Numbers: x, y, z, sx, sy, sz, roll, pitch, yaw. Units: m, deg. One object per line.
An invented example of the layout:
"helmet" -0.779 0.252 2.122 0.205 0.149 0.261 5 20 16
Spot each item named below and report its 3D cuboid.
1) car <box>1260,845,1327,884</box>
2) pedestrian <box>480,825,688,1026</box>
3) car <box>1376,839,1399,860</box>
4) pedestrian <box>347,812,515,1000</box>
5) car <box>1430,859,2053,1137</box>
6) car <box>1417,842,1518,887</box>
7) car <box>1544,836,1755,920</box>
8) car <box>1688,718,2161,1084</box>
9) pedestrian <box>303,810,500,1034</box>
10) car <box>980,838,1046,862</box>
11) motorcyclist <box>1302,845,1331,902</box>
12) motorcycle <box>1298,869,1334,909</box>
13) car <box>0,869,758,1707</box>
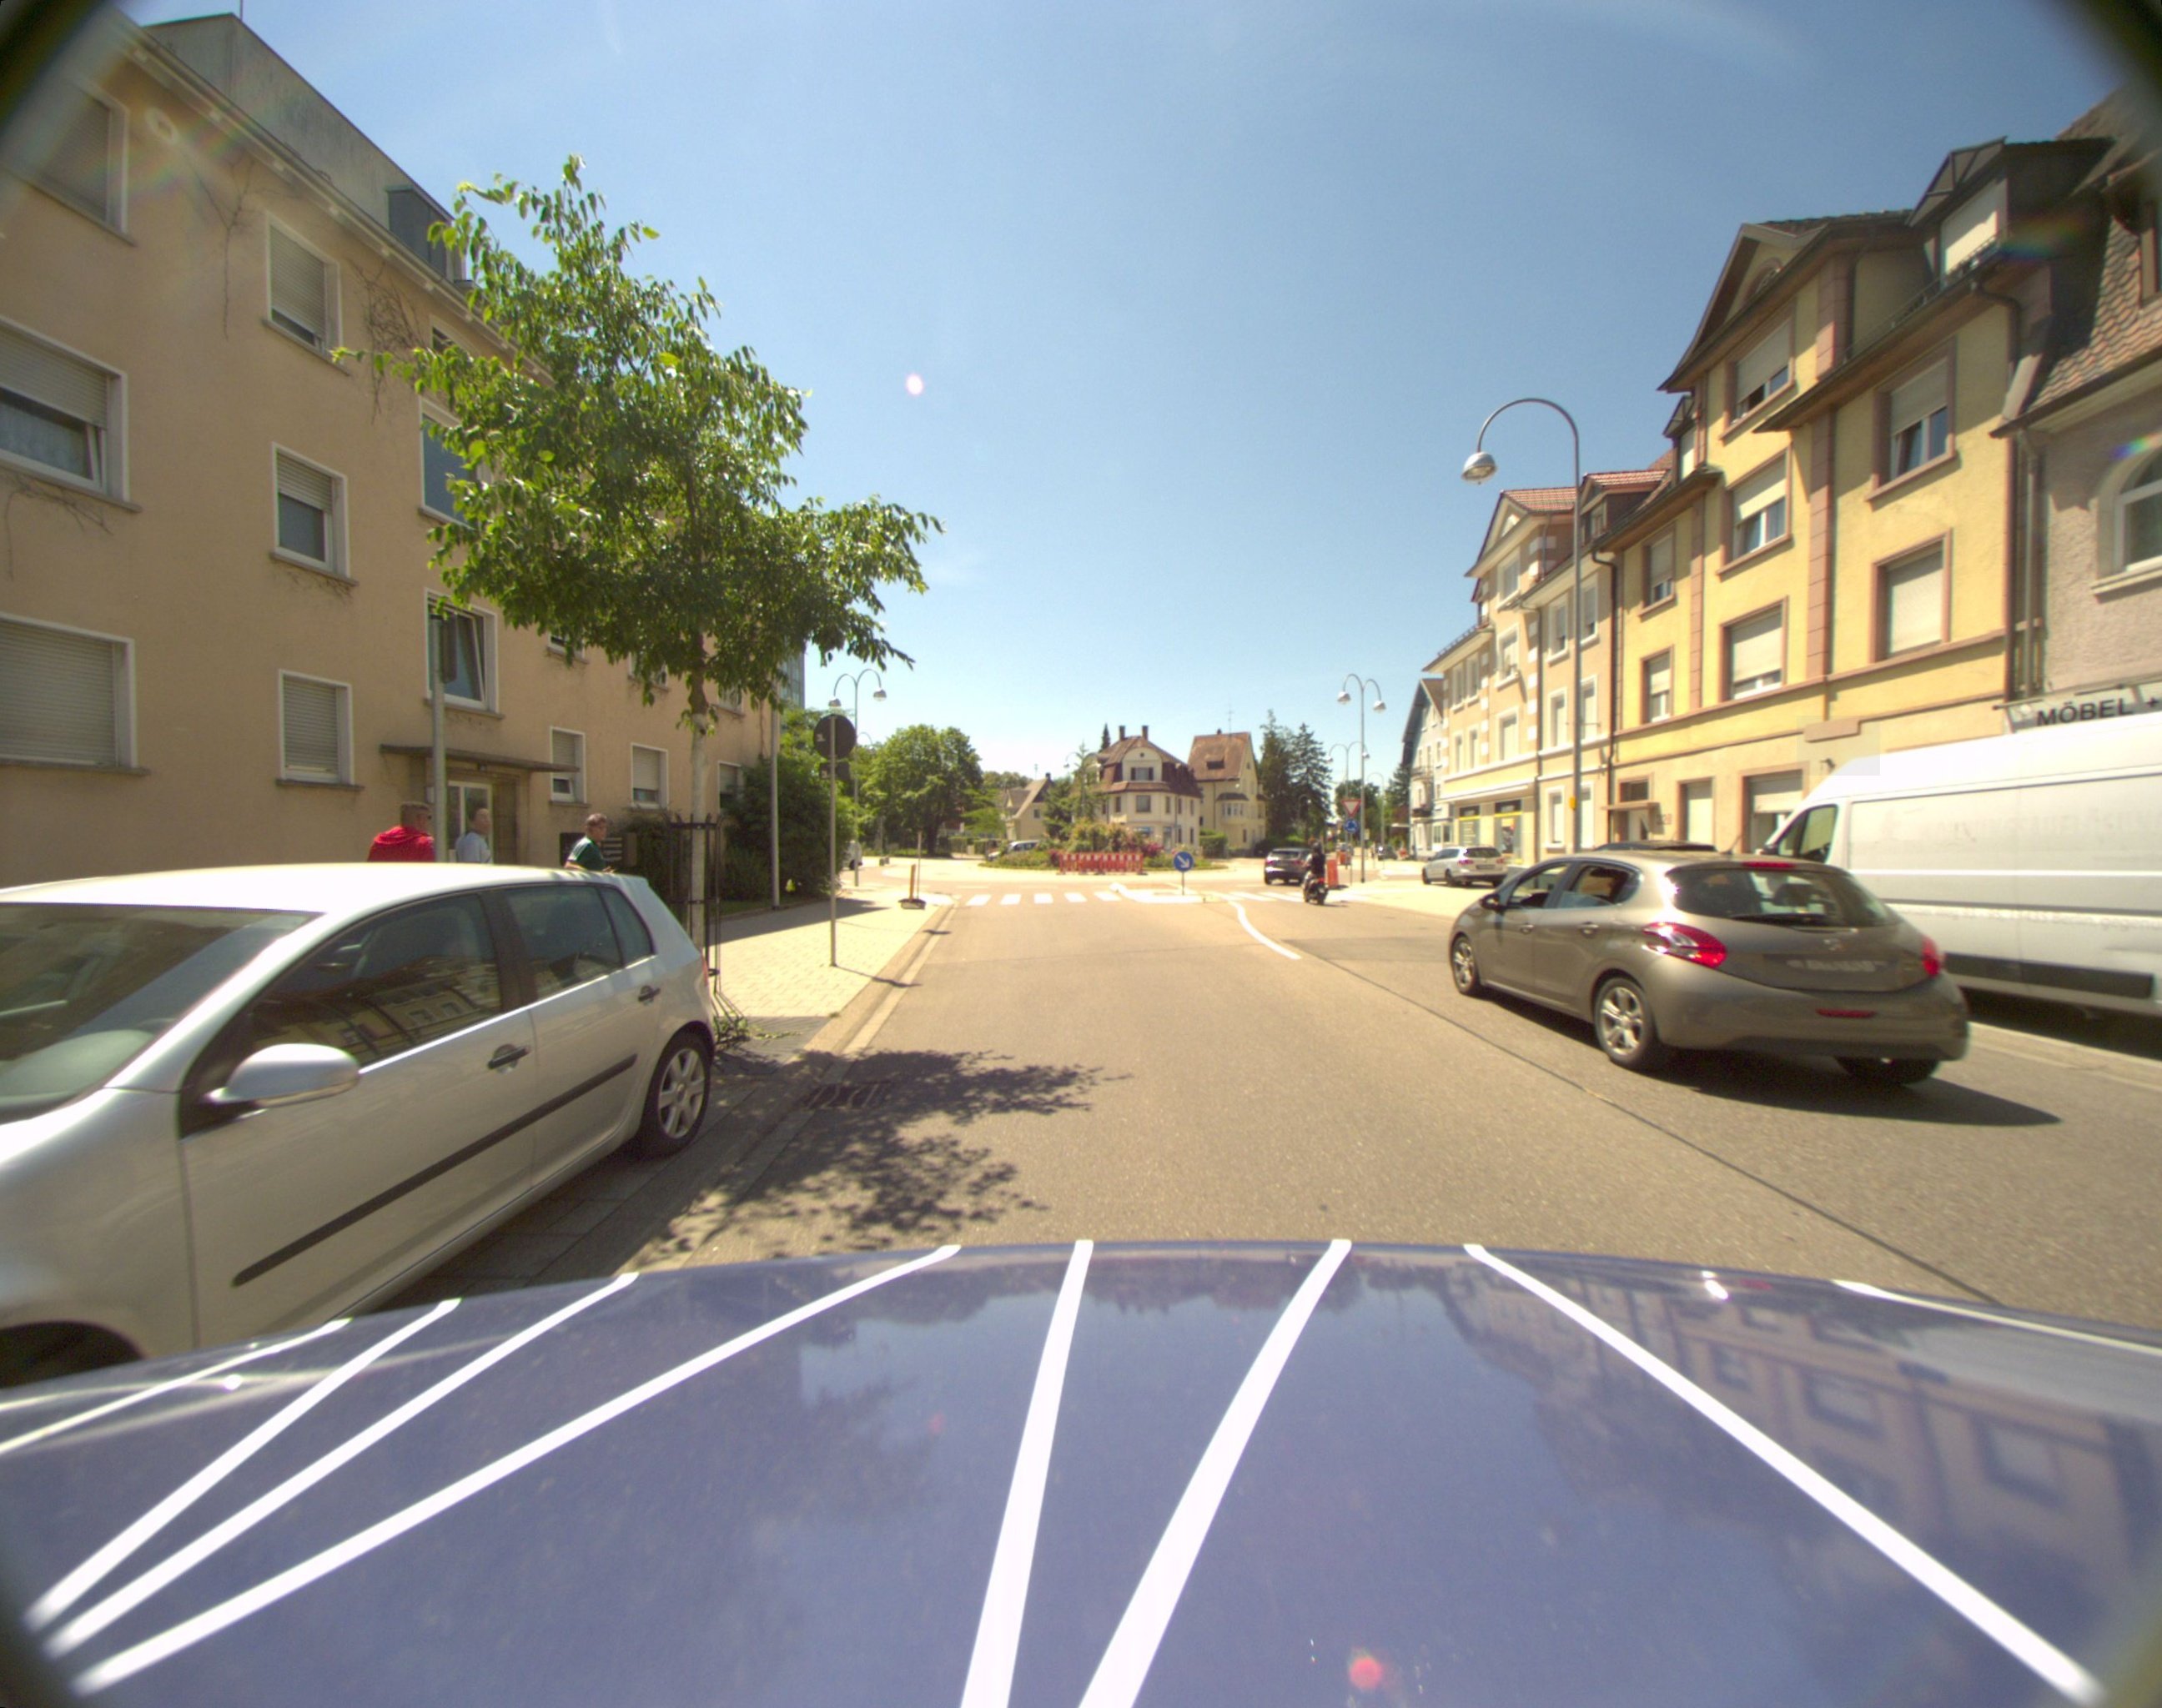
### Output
"car" 9.348 0.403 33.189 1.796 1.481 4.398 2 2 30
"pedestrian" -4.664 0.620 7.254 1.174 1.723 1.191 2 2 -1
"car" 30.379 -0.459 75.272 1.995 1.838 4.004 0 4 24
"pedestrian" -6.483 0.483 7.642 0.795 1.768 1.008 0 1 0
"car" 4.442 0.781 6.092 1.735 1.403 4.002 1 0 5
"car" 14.114 0.343 28.086 1.798 1.494 4.949 -1 0 8
"car" 11.795 0.432 16.156 1.798 1.532 4.117 -1 0 8
"car" 8.407 0.262 6.453 2.123 2.435 6.120 -2 1 7
"pedestrian" -5.895 0.549 6.661 0.790 1.801 1.006 2 1 0
"car" -5.168 -0.340 57.743 4.572 1.727 1.996 0 1 -23
"motorcyclist" 6.432 0.508 20.776 0.602 1.516 0.896 0 1 5
"motorcycle" 6.442 0.932 20.893 0.607 0.994 1.800 0 1 6
"car" -2.869 0.892 2.396 1.818 1.468 4.505 1 1 -1
